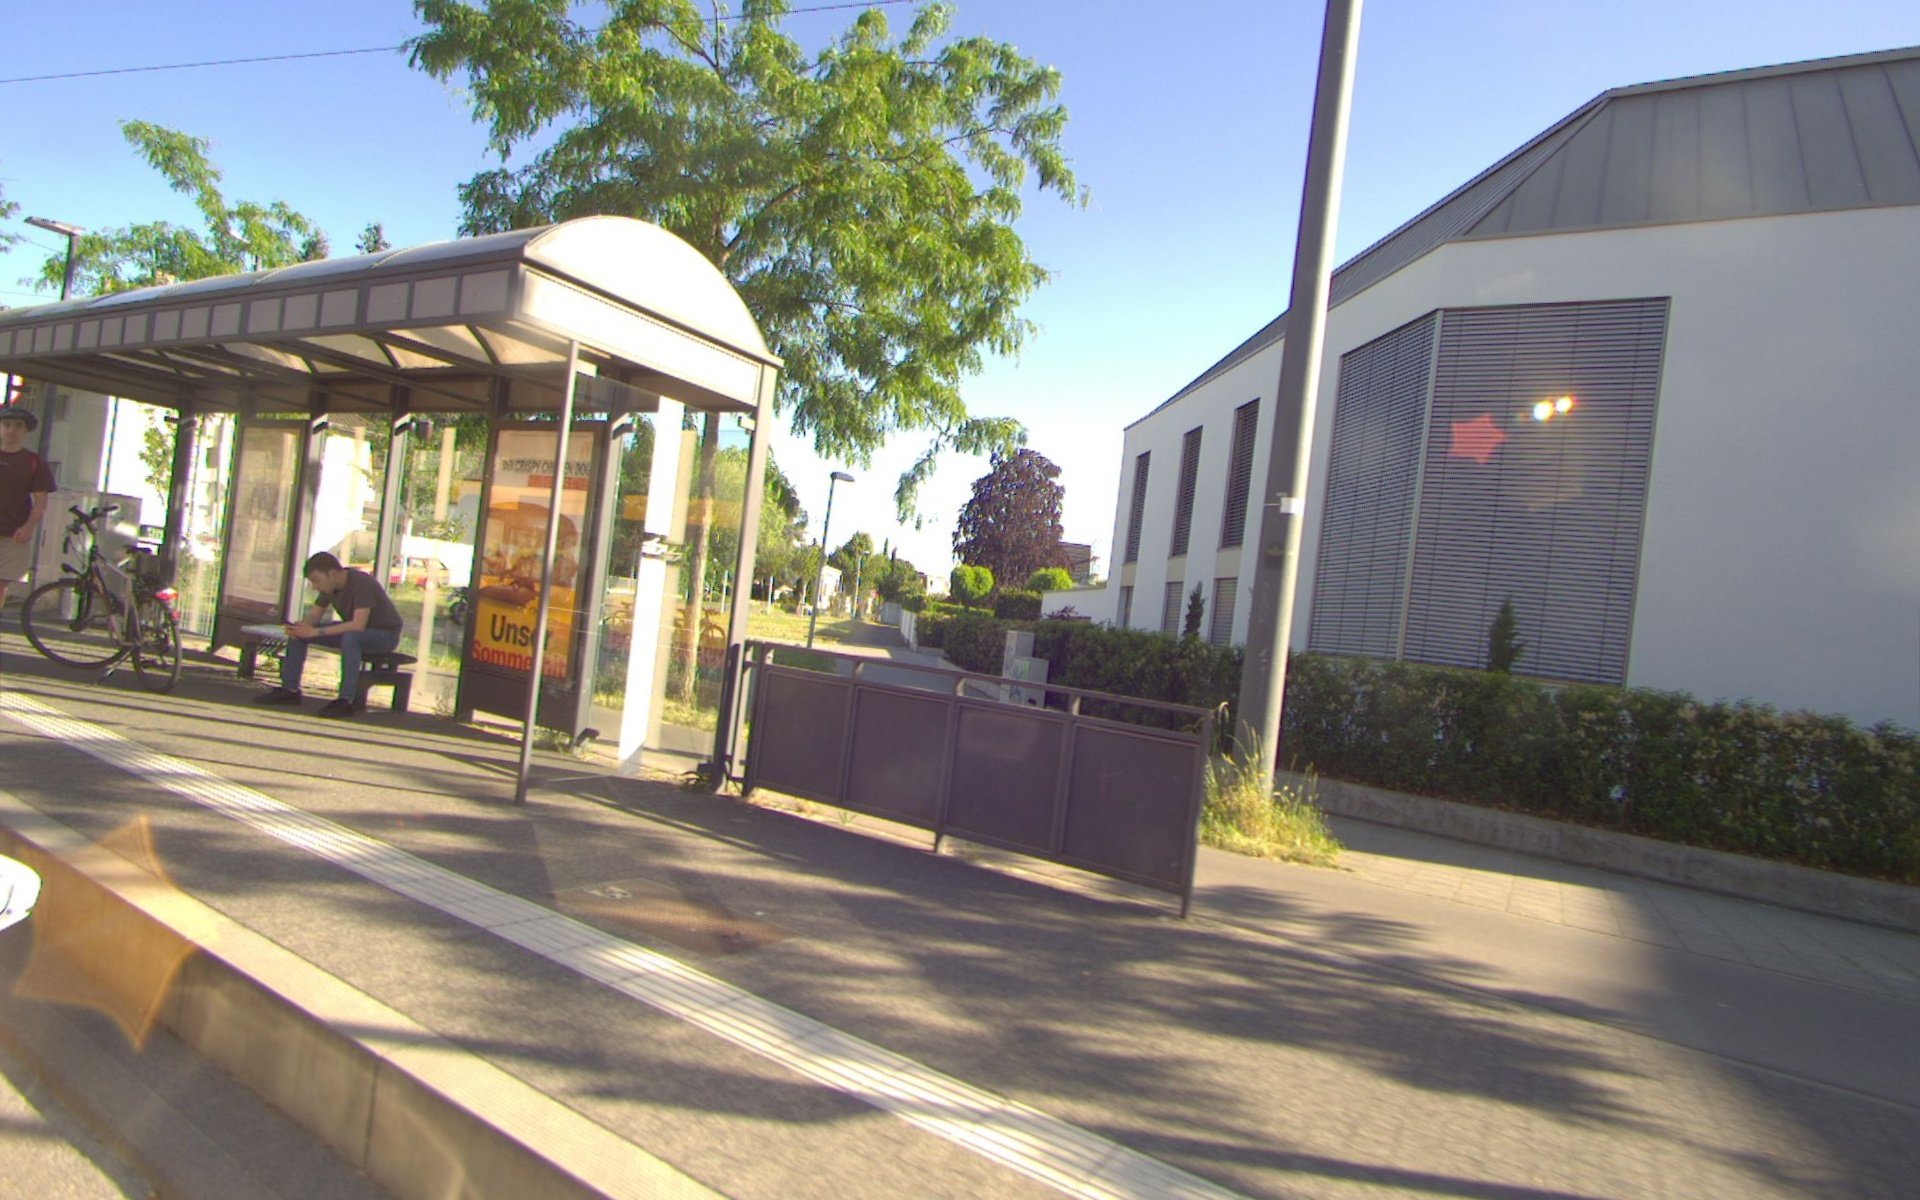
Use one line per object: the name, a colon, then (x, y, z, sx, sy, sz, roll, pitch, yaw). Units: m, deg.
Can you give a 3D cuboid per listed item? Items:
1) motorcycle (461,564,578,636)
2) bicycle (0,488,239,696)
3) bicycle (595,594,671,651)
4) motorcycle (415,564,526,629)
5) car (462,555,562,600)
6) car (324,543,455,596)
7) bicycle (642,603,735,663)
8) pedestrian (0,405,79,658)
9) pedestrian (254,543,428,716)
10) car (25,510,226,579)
motorcycle: (-9.138, 0.029, 20.956, 0.847, 1.289, 2.083, 7, -1, 25)
bicycle: (-6.084, -0.076, 7.173, 1.932, 1.244, 0.621, 7, -1, 28)
bicycle: (-6.311, 0.461, 19.485, 0.408, 0.990, 1.474, 7, -1, 25)
motorcycle: (-10.614, -0.052, 21.901, 0.847, 1.171, 2.004, 7, -1, 25)
car: (-20.881, -1.018, 47.067, 1.944, 1.525, 4.181, 7, -2, 14)
car: (-23.277, -1.221, 41.191, 1.947, 1.525, 4.175, 7, -2, 26)
bicycle: (-5.033, 0.641, 18.798, 0.482, 0.990, 1.903, 7, -1, 25)
pedestrian: (-7.541, -0.551, 7.800, 0.717, 1.875, 0.712, 7, -2, 33)
pedestrian: (-4.480, 0.228, 7.309, 0.647, 1.130, 0.740, 7, -2, 31)
car: (-26.165, -1.689, 31.653, 1.956, 1.483, 4.595, 4, -3, 43)
